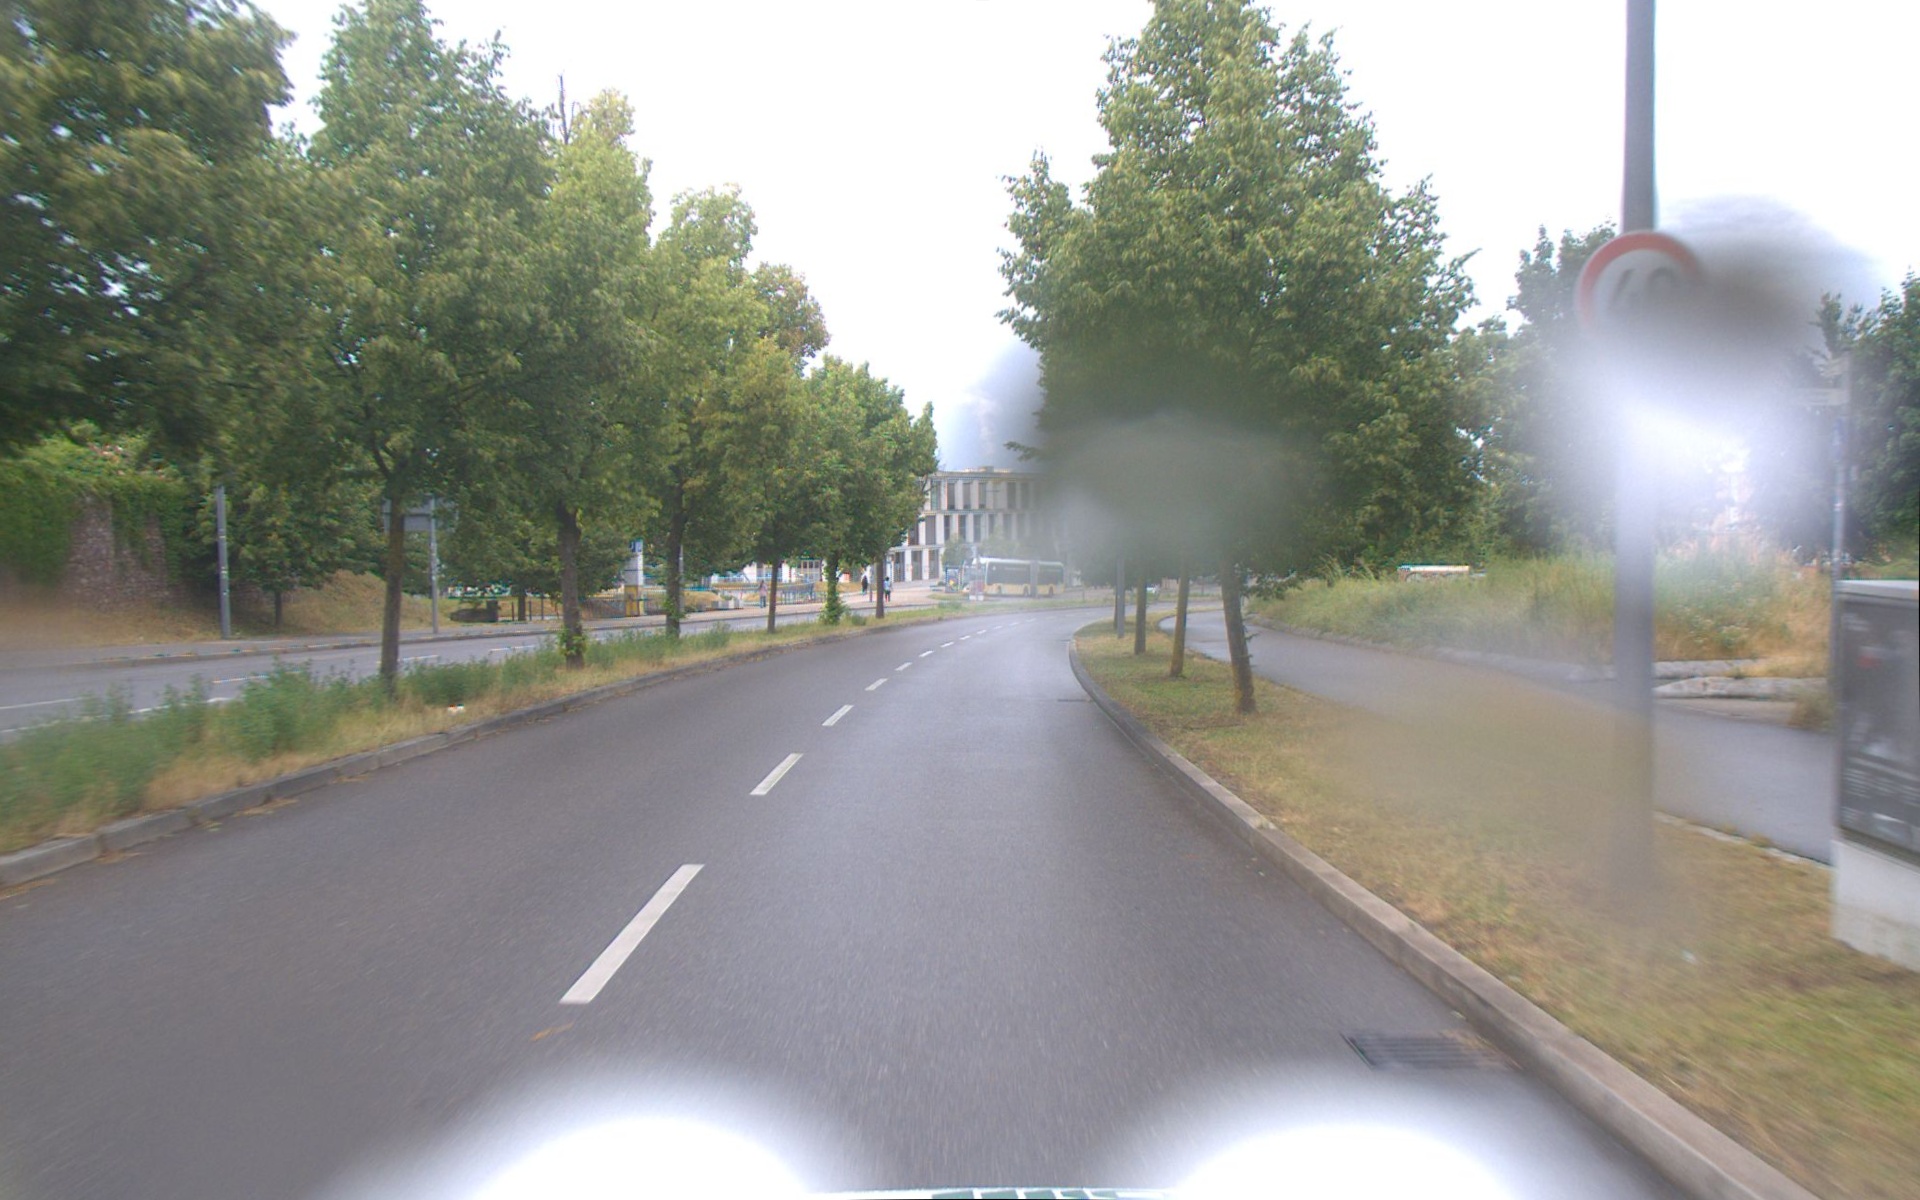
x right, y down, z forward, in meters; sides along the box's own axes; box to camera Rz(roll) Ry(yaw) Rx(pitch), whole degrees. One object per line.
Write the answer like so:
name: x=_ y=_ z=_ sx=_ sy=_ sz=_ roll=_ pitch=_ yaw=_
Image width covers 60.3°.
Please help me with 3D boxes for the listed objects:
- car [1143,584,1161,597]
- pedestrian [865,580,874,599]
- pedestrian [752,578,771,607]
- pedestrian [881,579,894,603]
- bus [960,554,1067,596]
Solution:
car: x=22.318 y=-1.084 z=192.125 sx=1.448 sy=1.520 sz=2.529 roll=0 pitch=-1 yaw=24
pedestrian: x=-7.414 y=-0.873 z=135.722 sx=0.668 sy=1.551 sz=0.719 roll=0 pitch=-1 yaw=1
pedestrian: x=-11.503 y=-0.427 z=95.922 sx=0.796 sy=1.649 sz=0.936 roll=0 pitch=-1 yaw=11
pedestrian: x=-4.958 y=-0.629 z=113.002 sx=0.818 sy=1.601 sz=0.718 roll=0 pitch=-1 yaw=-6
bus: x=5.215 y=-2.195 z=153.045 sx=2.730 sy=3.416 sz=18.209 roll=0 pitch=-1 yaw=26
